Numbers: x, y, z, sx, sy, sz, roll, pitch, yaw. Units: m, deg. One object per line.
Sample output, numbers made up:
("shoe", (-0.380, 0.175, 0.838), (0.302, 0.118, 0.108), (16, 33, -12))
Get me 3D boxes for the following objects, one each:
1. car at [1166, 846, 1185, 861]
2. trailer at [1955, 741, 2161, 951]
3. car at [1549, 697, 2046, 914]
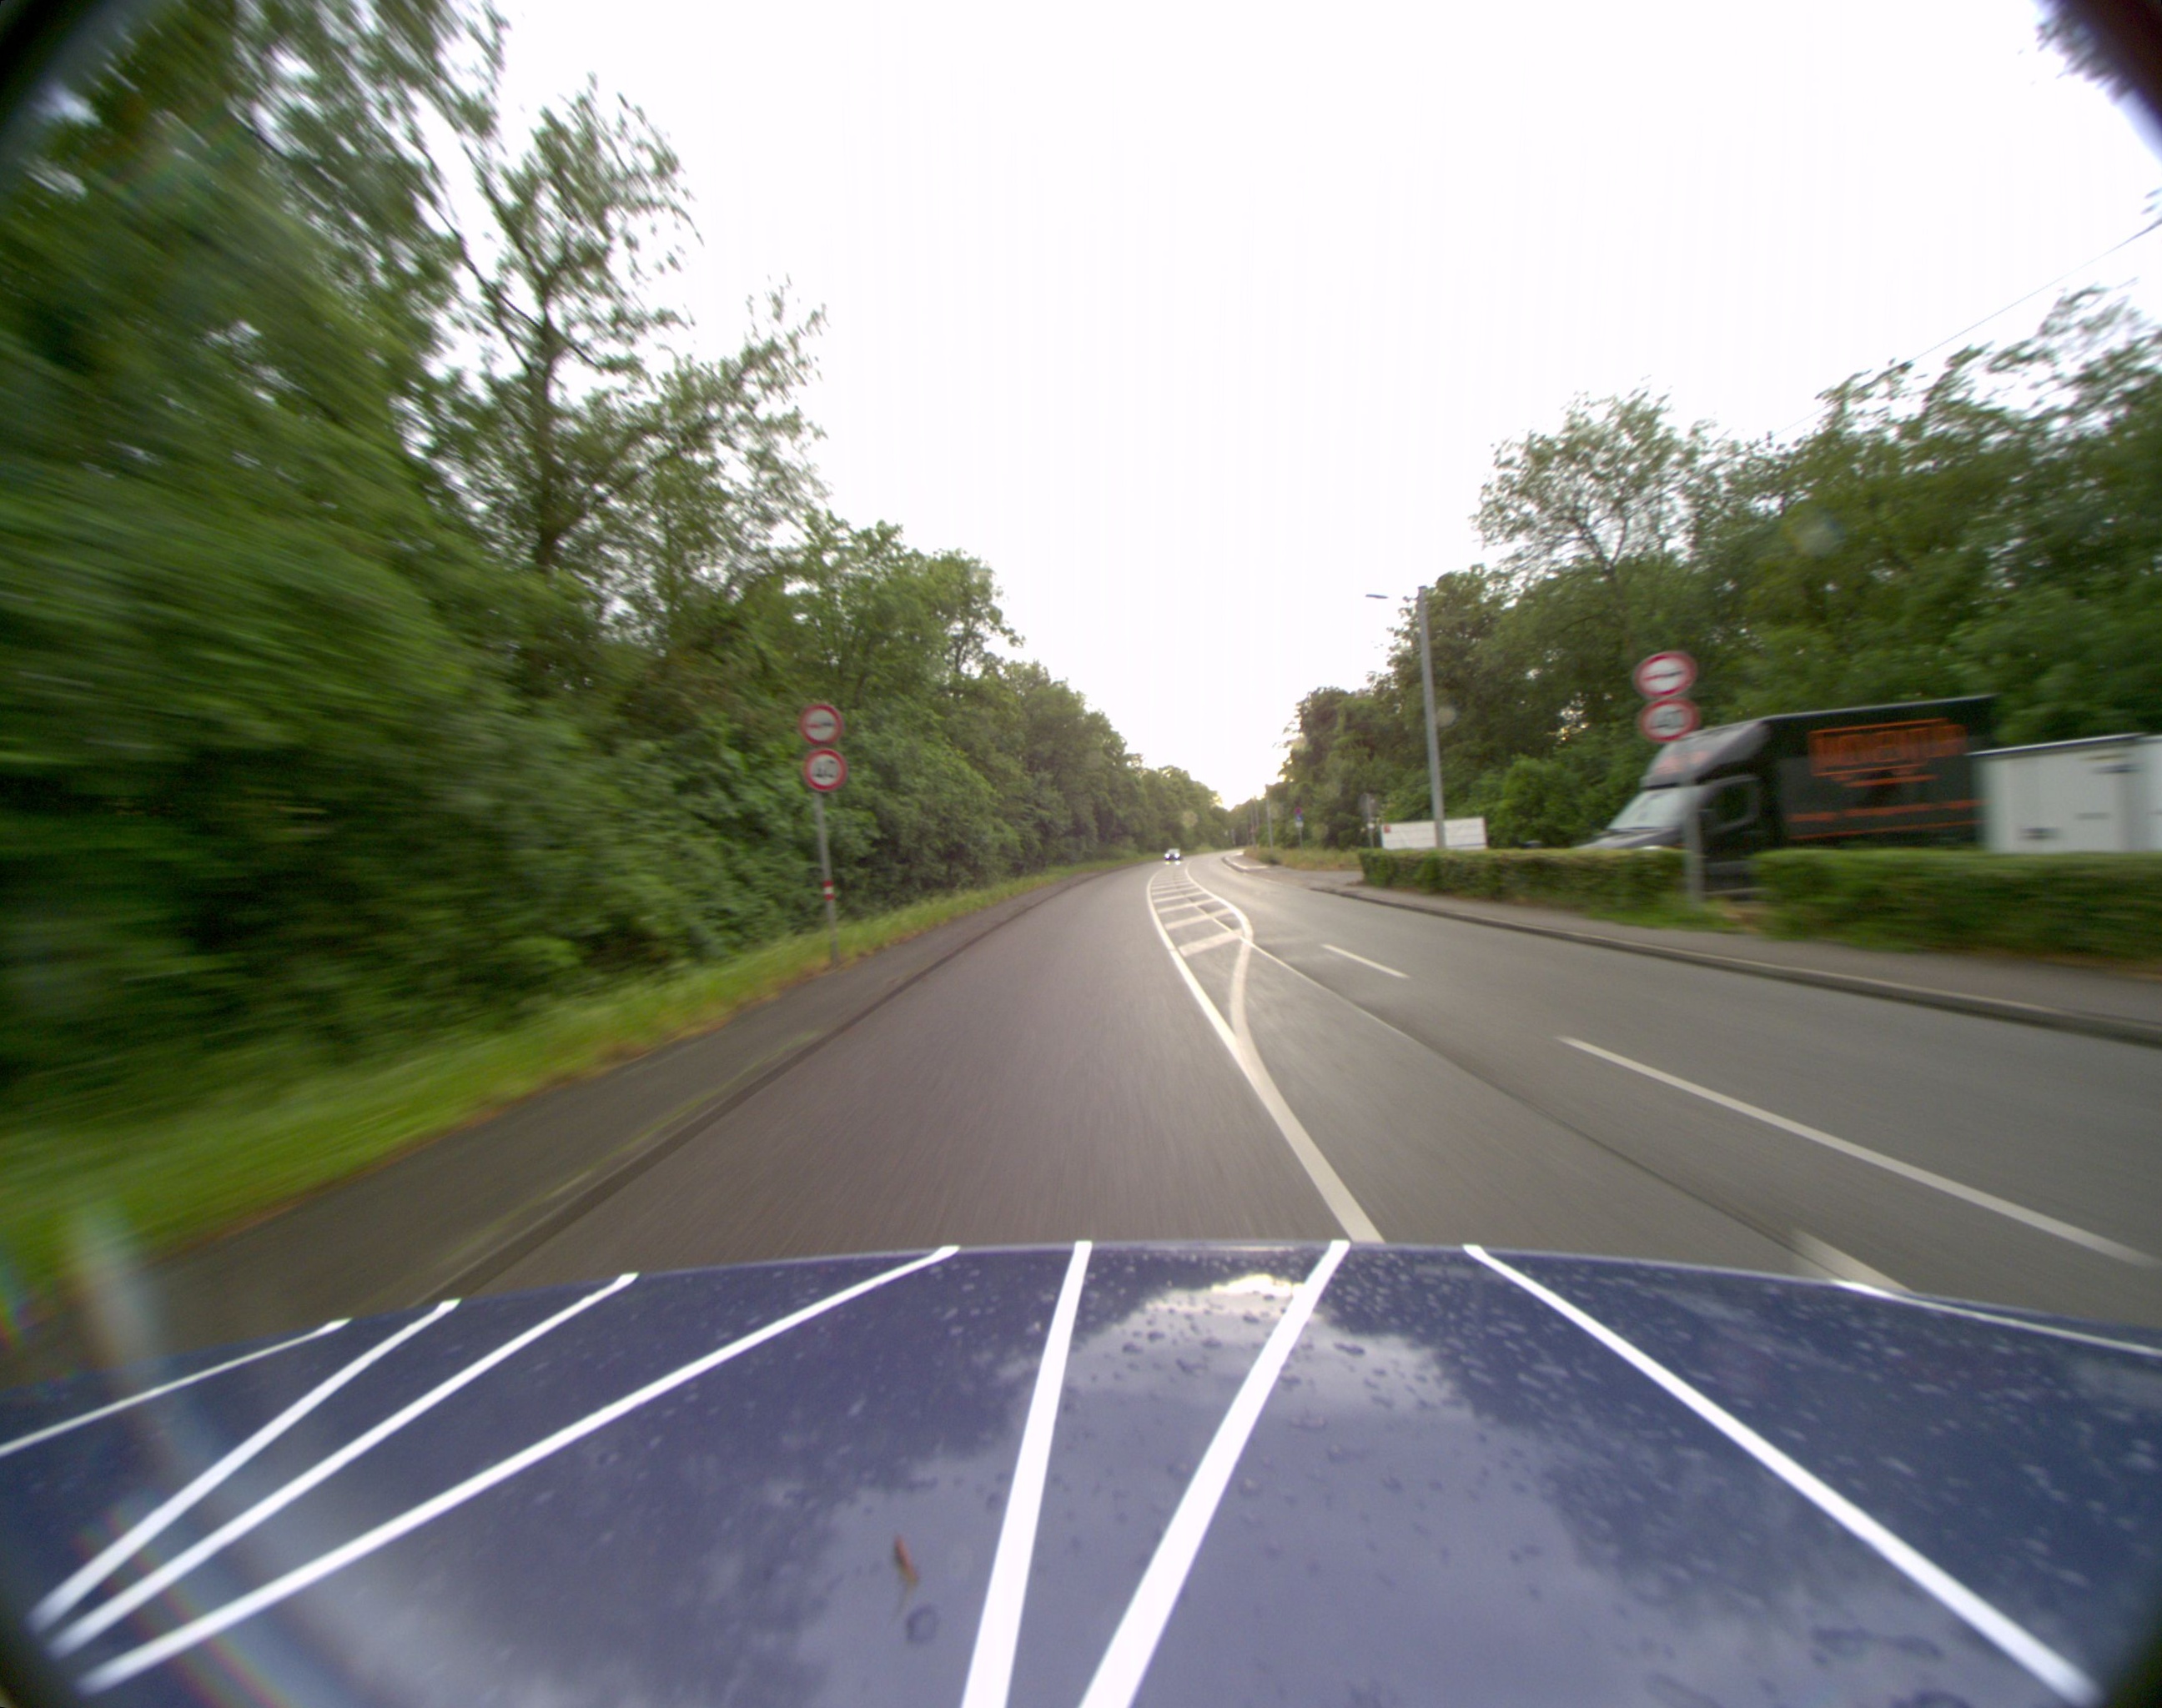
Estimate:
("car", (11.570, -0.051, 92.724), (1.997, 1.674, 4.003), (-3, 1, 11))
("trailer", (12.505, -0.186, 8.144), (3.996, 2.041, 1.873), (-3, 1, 2))
("car", (12.398, -0.808, 13.579), (6.288, 3.096, 2.751), (-4, 2, -1))
